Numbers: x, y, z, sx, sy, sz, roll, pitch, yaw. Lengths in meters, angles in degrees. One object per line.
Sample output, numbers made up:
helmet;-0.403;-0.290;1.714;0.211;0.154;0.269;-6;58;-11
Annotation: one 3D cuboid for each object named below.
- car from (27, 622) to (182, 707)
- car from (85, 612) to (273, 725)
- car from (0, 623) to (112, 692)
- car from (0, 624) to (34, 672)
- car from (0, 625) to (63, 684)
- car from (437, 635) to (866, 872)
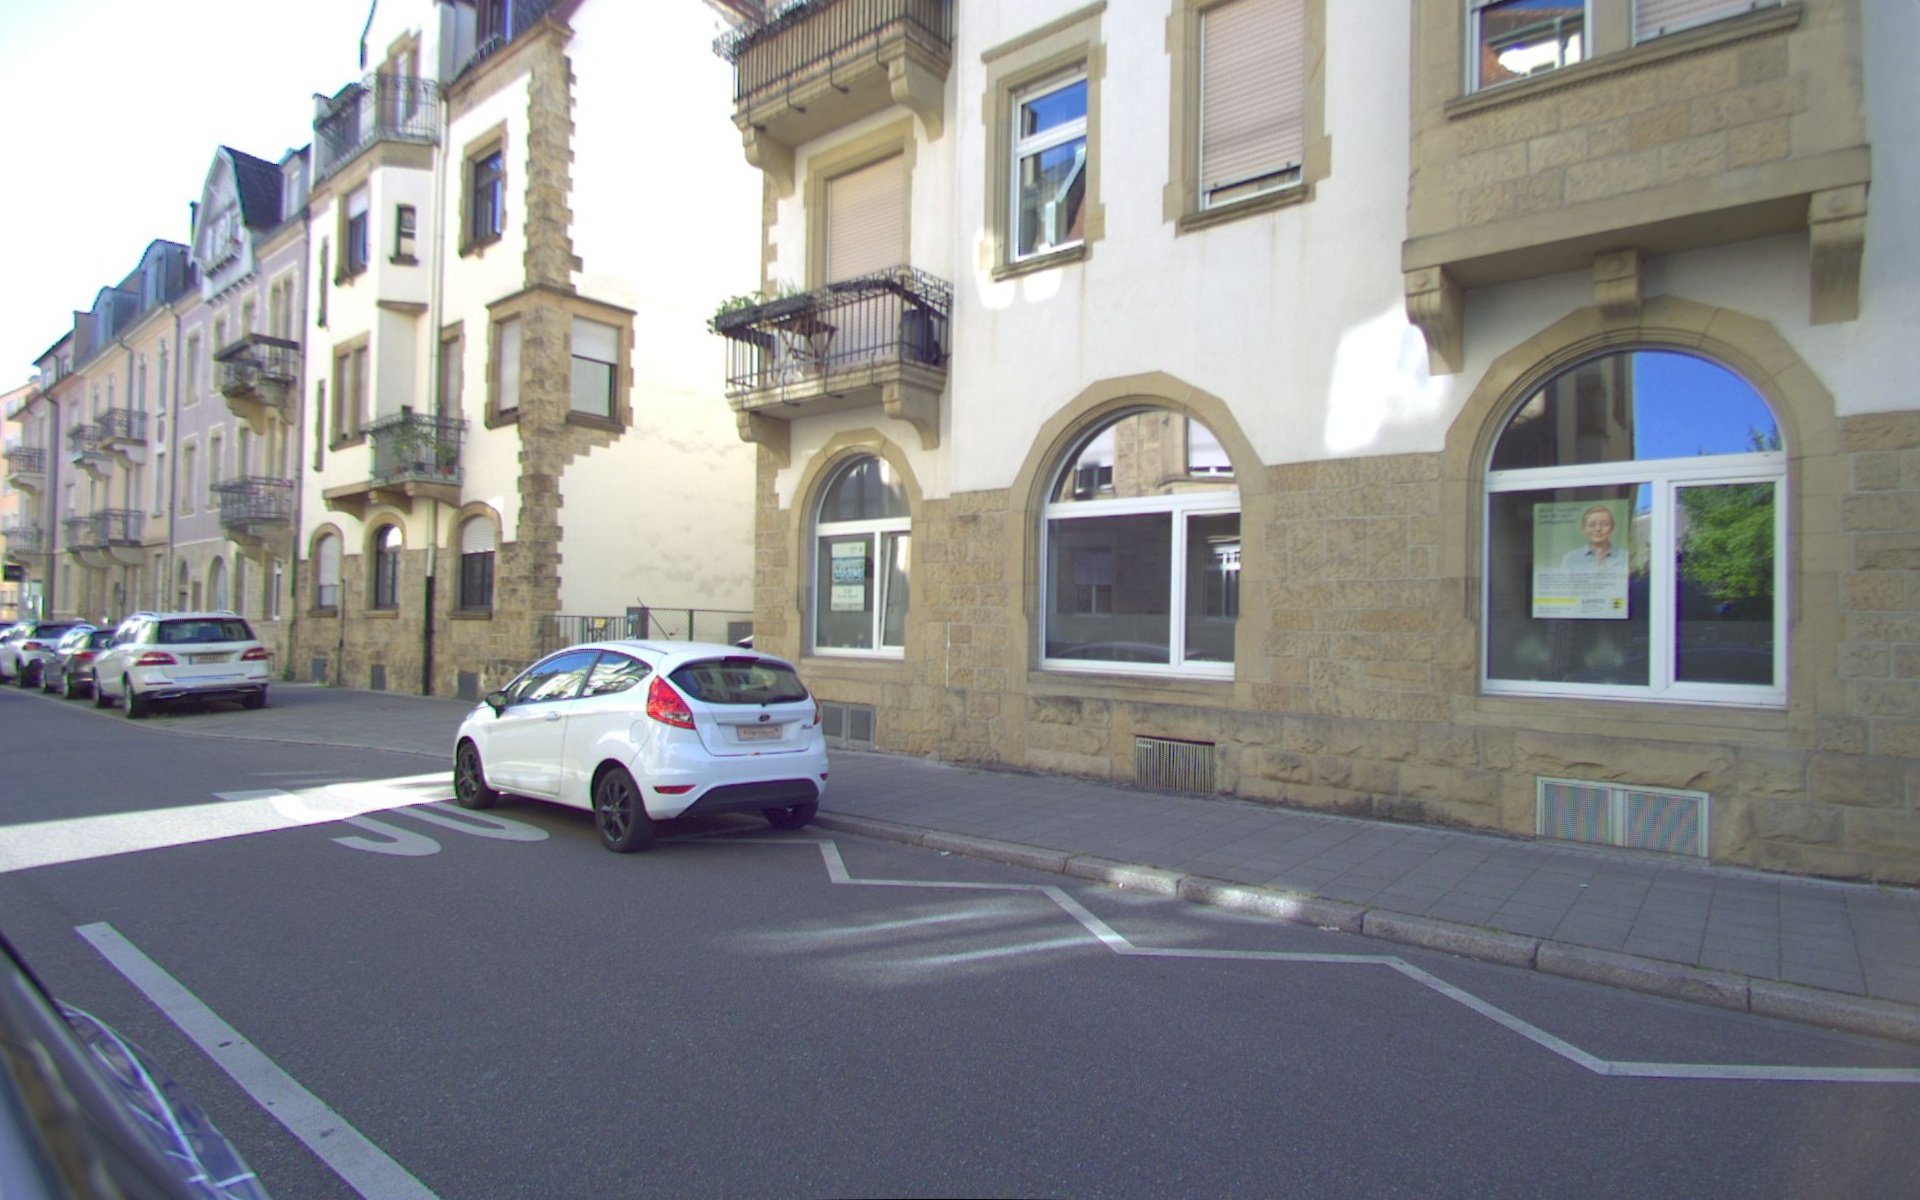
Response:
car;-18.446;1.289;21.753;4.319;1.519;1.866;-1;2;41
car;-13.961;1.098;18.005;4.209;1.740;1.866;-1;0;41
car;-22.950;1.382;25.434;4.319;1.520;1.866;-1;0;41
car;-33.049;1.604;34.382;4.319;1.520;1.866;-1;0;41
car;-27.158;1.516;28.874;4.317;1.511;1.833;-1;0;41
car;-2.608;1.044;8.152;3.642;1.469;1.634;-2;-5;42
